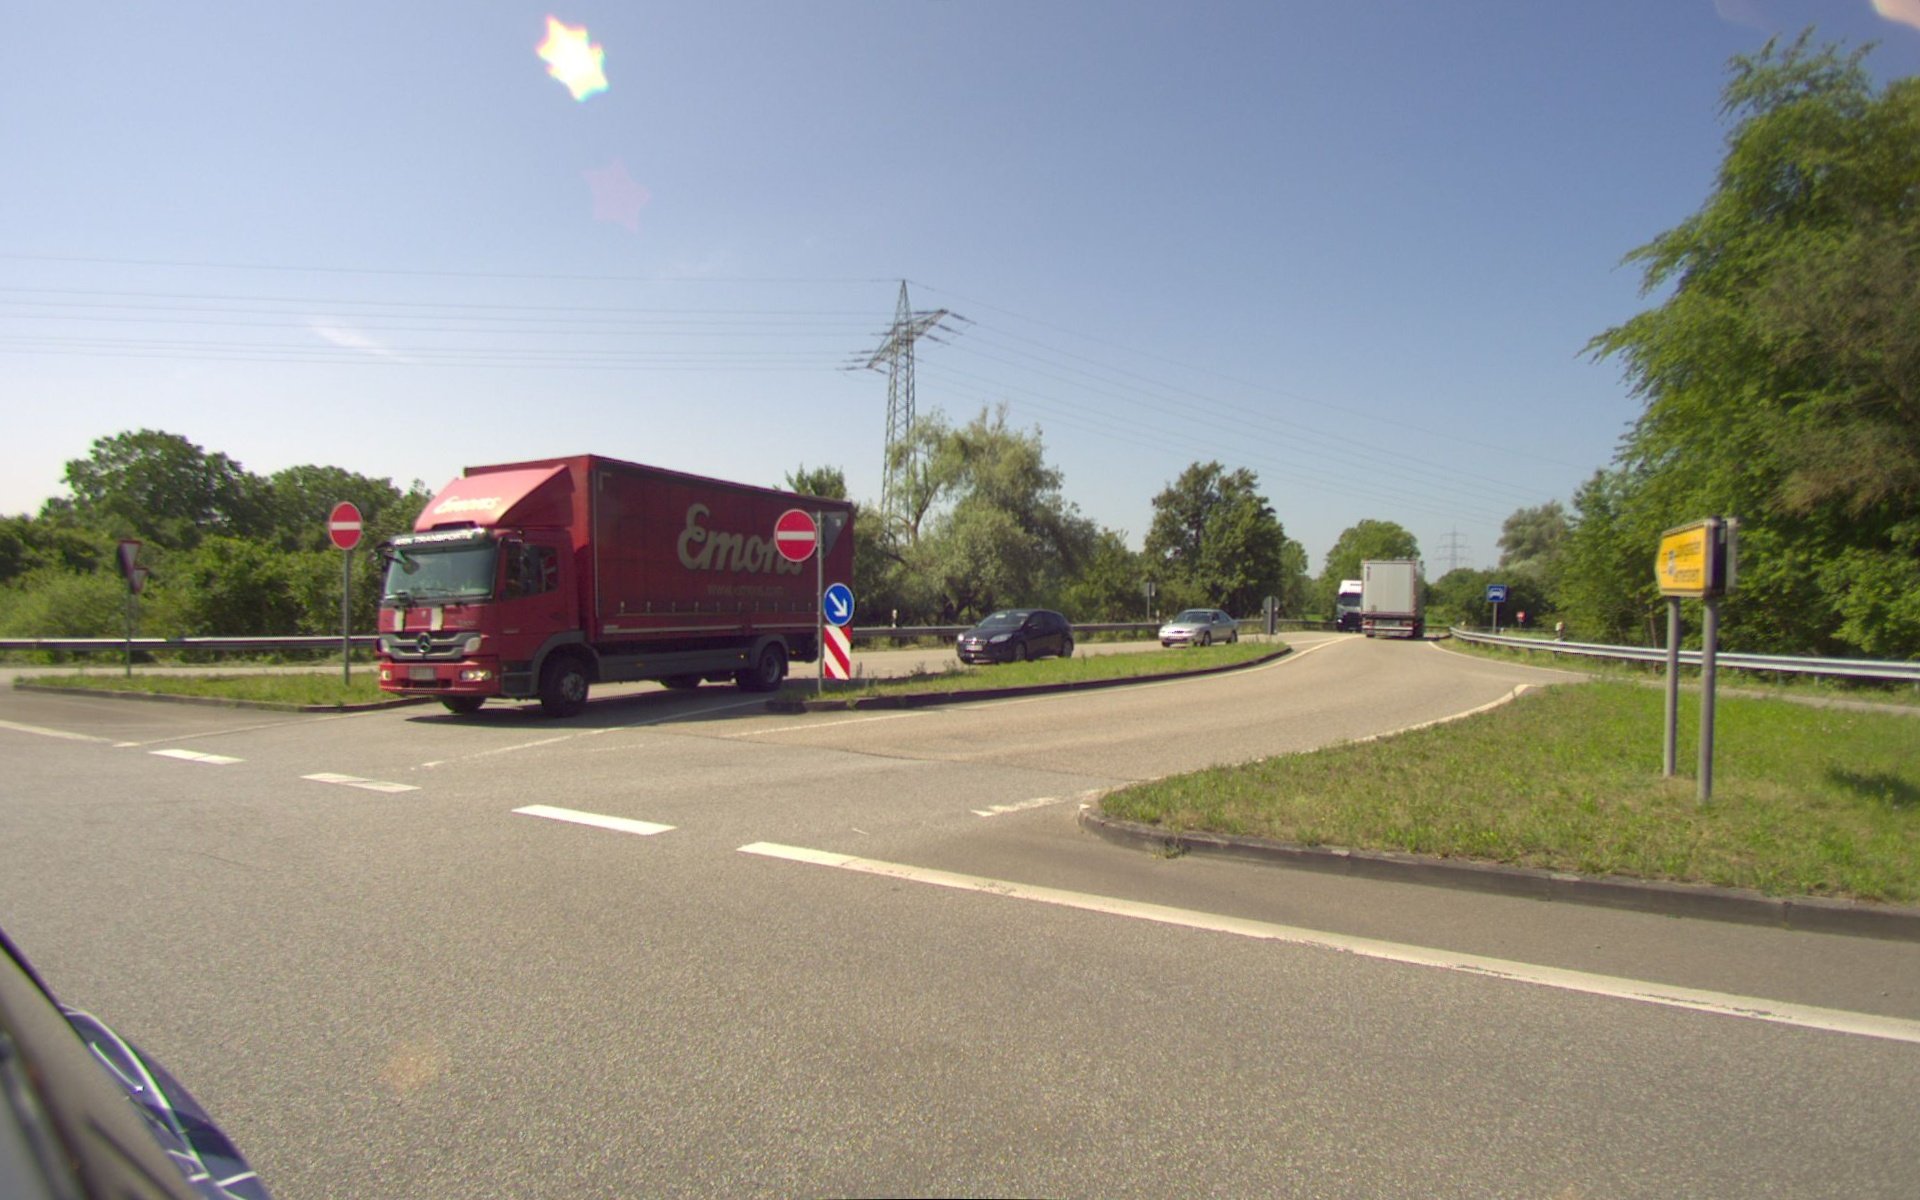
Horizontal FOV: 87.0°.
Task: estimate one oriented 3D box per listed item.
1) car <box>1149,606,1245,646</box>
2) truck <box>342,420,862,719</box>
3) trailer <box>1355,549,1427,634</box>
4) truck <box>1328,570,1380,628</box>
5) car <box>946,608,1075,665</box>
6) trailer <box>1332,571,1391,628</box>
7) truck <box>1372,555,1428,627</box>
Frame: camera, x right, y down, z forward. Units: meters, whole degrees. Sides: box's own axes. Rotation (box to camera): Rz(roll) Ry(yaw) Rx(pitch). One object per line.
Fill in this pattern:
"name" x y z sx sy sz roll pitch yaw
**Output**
"car" 8.826 0.933 37.496 1.787 1.396 4.320 -1 -1 39
"truck" -5.164 -0.323 17.205 2.676 3.689 9.182 0 -1 25
"trailer" 24.372 -0.488 56.734 2.882 4.196 13.855 -1 0 26
"truck" 30.364 -0.056 77.880 2.927 4.269 5.678 2 0 28
"car" 1.438 0.933 27.418 1.783 1.425 3.955 -1 -1 33
"trailer" 33.244 0.003 83.365 2.917 4.272 13.847 2 0 28
"truck" 27.138 -0.538 62.300 2.865 4.205 5.917 -1 0 26
